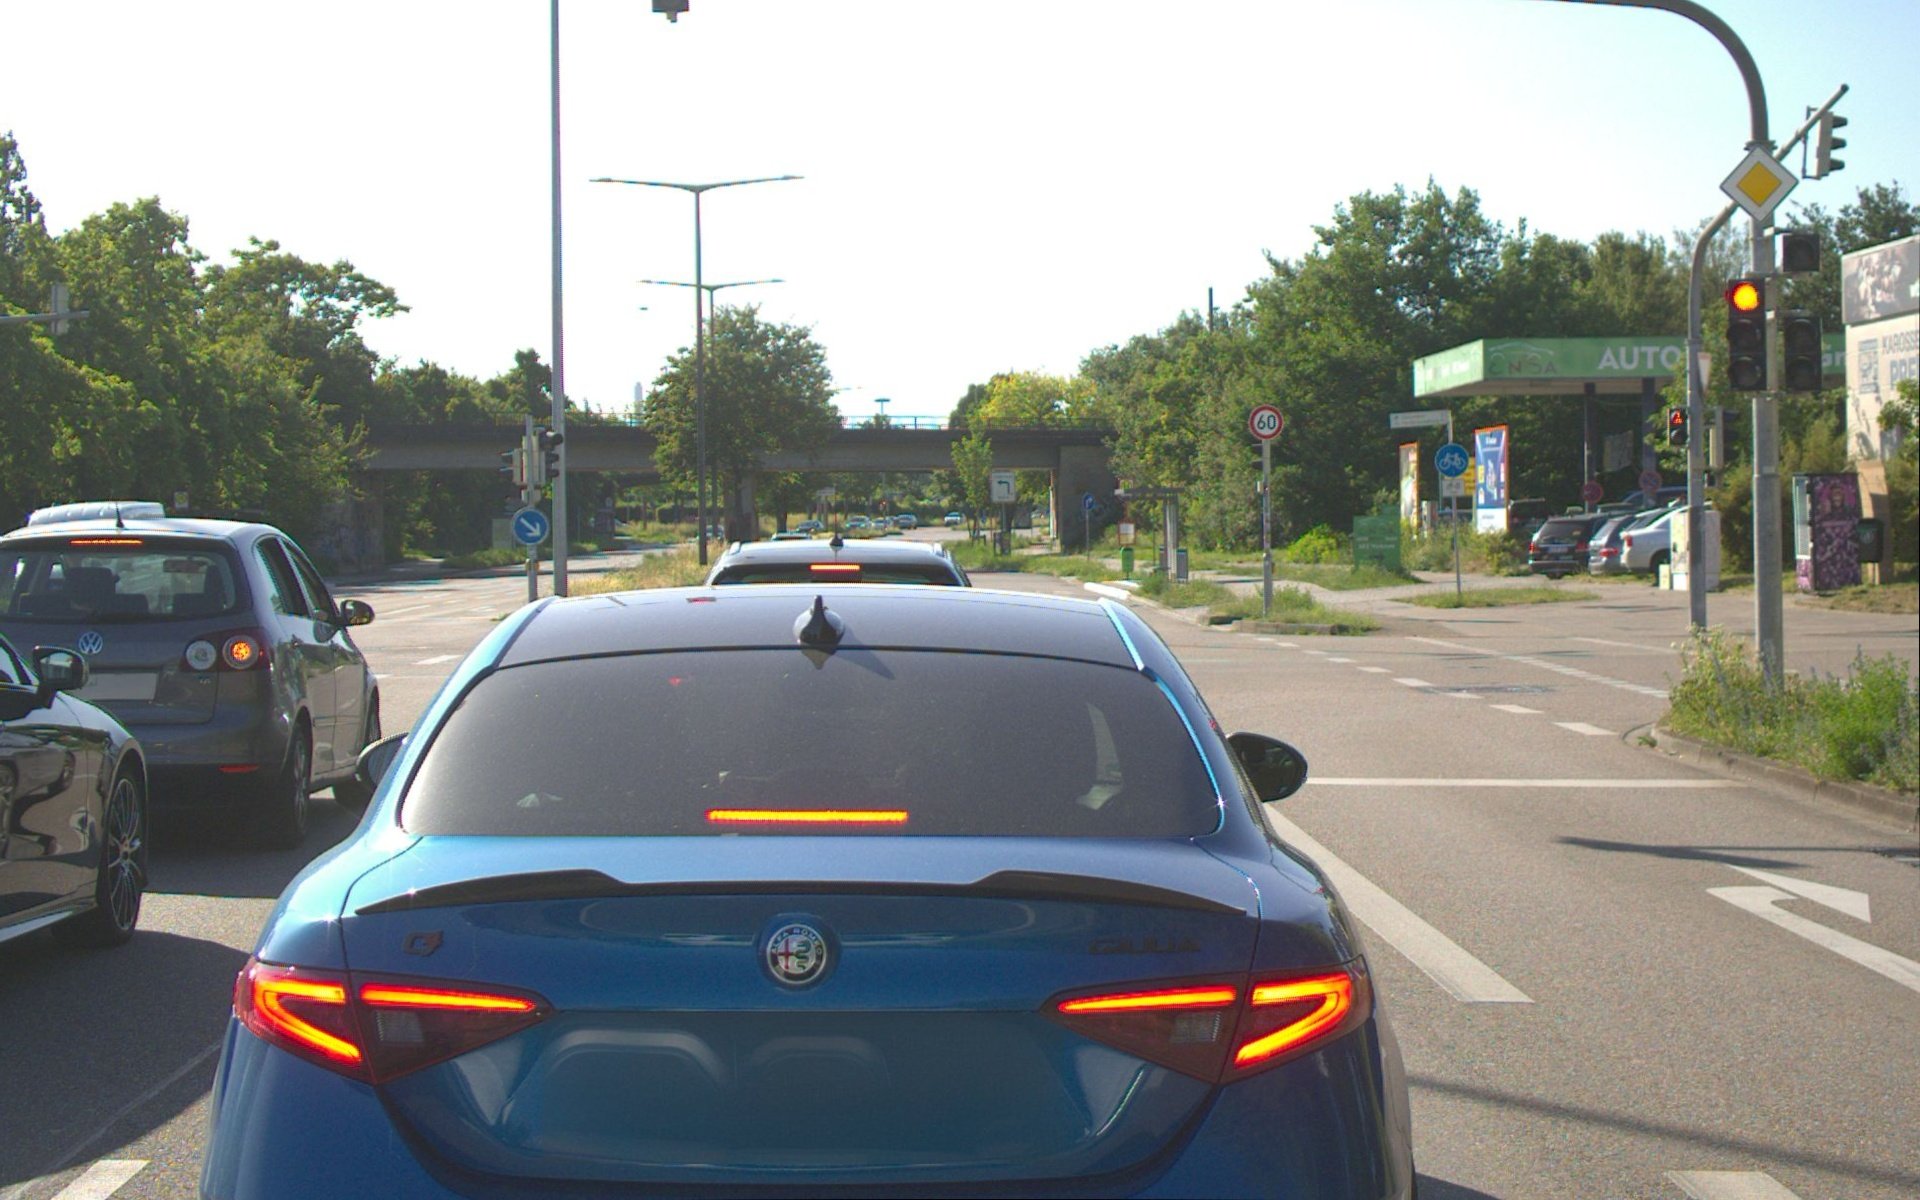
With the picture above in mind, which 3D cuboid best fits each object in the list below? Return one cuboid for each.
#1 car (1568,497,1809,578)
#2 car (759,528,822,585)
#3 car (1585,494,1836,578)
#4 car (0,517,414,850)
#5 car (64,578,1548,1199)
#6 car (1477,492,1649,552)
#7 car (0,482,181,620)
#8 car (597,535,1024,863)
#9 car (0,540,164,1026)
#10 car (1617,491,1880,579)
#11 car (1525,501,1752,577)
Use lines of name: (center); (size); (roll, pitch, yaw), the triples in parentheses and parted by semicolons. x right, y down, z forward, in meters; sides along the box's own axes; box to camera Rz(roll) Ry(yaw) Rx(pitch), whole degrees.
car: (14.821, -1.267, 70.115); (4.489, 1.449, 1.858); (-2, 1, 1)
car: (-5.549, -1.416, 112.816); (1.891, 1.809, 4.000); (1, 1, -1)
car: (14.664, -1.250, 67.361); (4.489, 1.449, 1.858); (-2, 1, 1)
car: (-3.992, 0.352, 17.731); (1.759, 1.485, 4.403); (1, 1, -2)
car: (-0.261, 0.687, 6.621); (1.895, 1.413, 4.403); (1, 1, -2)
car: (17.052, -2.199, 97.329); (4.551, 1.485, 1.765); (-2, 1, 1)
car: (-16.818, -0.950, 66.676); (2.022, 2.439, 5.822); (-4, 1, -1)
car: (-0.716, 0.410, 17.254); (1.850, 1.413, 4.403); (1, 1, -2)
car: (-3.827, 0.547, 10.632); (1.796, 1.485, 4.476); (1, 1, -2)
car: (14.781, -1.212, 64.582); (4.489, 1.449, 1.858); (-2, 1, 1)
car: (14.601, -1.315, 74.166); (4.489, 1.449, 1.858); (-2, 1, 1)
